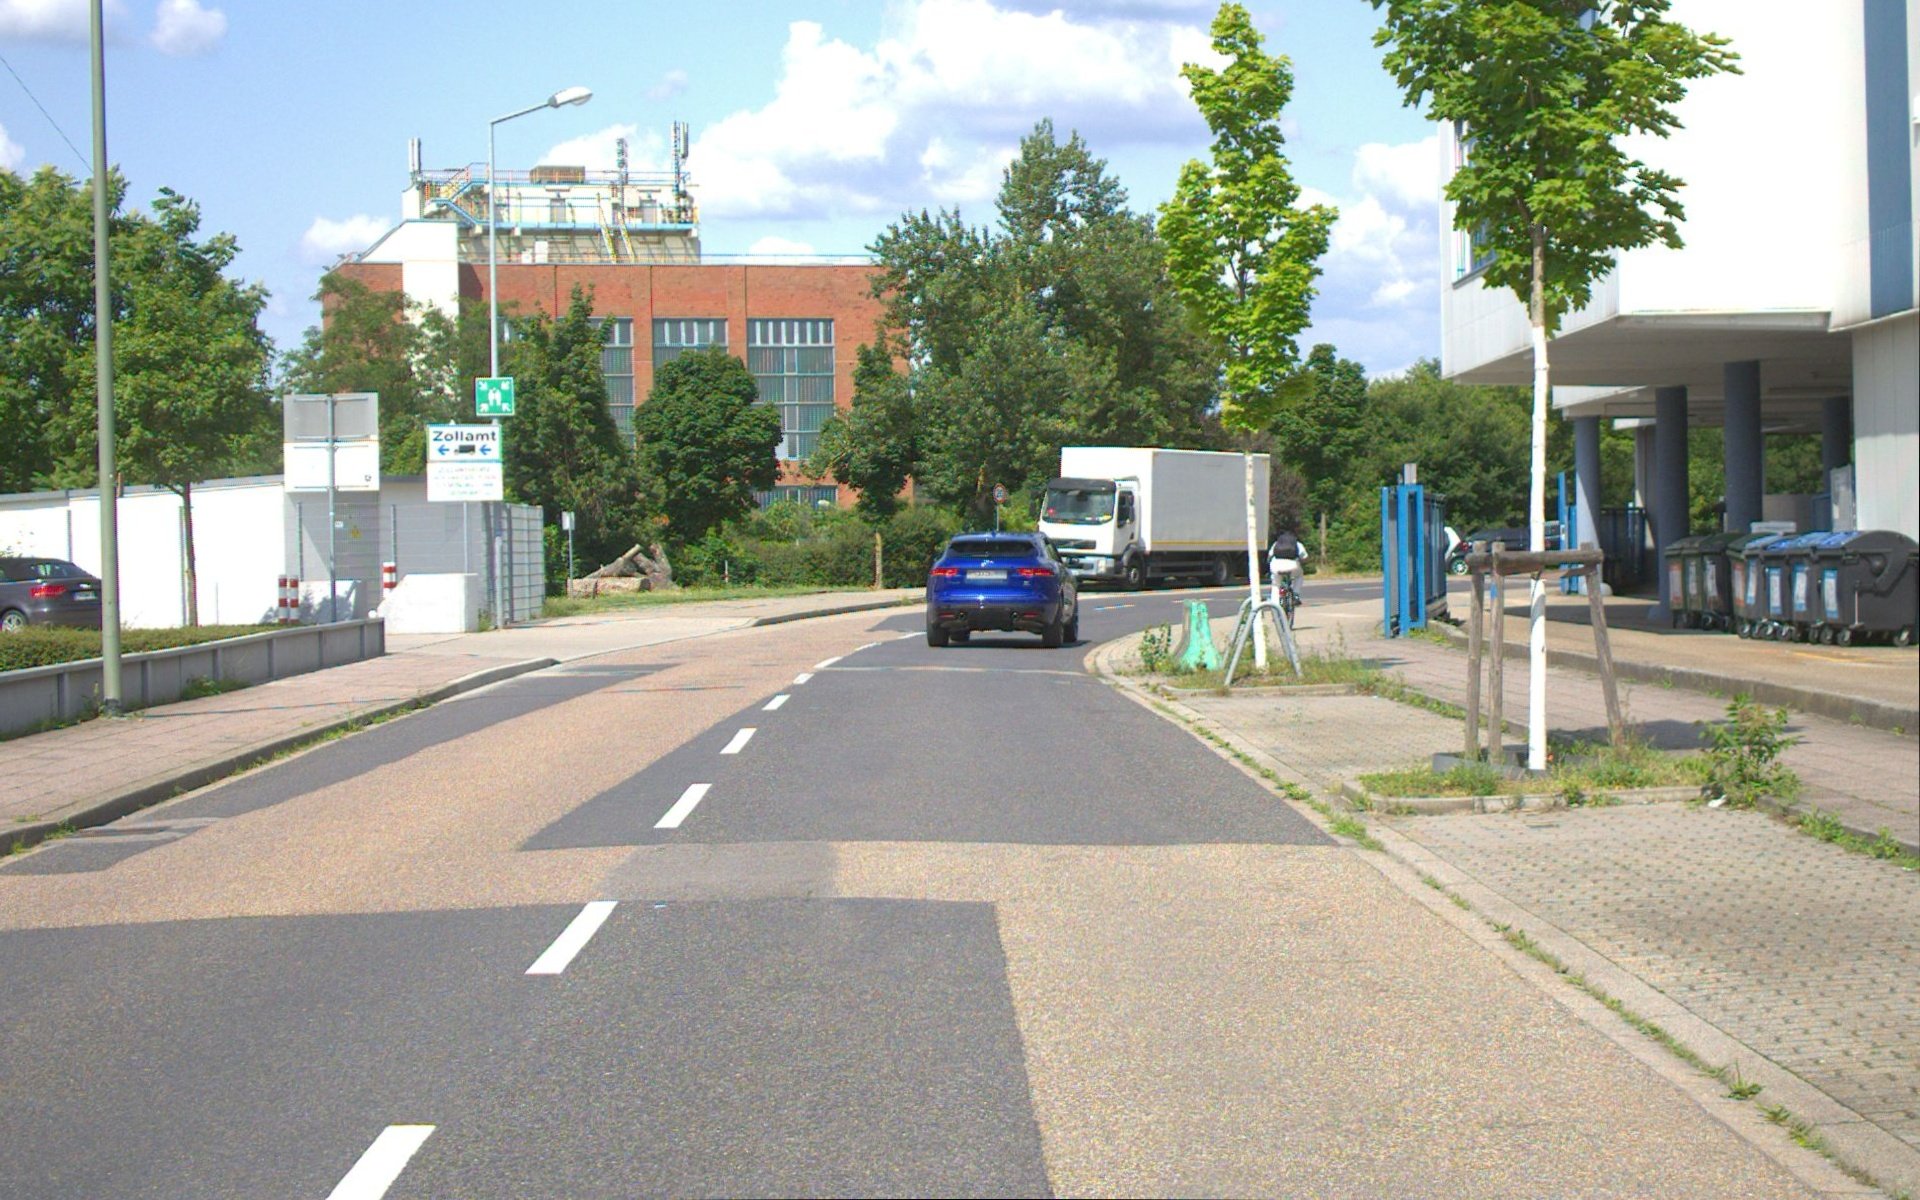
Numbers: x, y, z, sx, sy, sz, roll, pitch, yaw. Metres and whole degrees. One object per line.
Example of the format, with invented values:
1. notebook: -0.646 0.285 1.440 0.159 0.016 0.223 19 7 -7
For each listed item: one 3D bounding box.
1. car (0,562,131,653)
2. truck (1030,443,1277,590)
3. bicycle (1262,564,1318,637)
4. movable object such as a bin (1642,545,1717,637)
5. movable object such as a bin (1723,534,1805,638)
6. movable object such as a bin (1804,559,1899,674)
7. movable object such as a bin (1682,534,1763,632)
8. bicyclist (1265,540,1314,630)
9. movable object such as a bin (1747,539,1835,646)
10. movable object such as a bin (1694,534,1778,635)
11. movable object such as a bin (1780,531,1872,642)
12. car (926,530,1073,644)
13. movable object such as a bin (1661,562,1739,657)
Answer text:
1. car: -15.081 0.109 53.926 3.994 1.373 1.800 0 1 34
2. truck: 5.092 -2.157 88.168 2.325 3.555 9.352 2 2 30
3. bicycle: 5.134 -0.003 53.356 0.667 1.105 2.167 -1 1 11
4. movable object such as a bin: 11.134 -0.141 53.252 0.804 1.409 1.358 0 0 -3
5. movable object such as a bin: 11.066 -0.193 47.337 0.804 1.409 1.175 0 0 -3
6. movable object such as a bin: 11.153 0.204 43.050 0.804 1.409 1.358 0 0 -1
7. movable object such as a bin: 11.158 -0.245 50.361 0.804 1.409 1.406 0 0 -3
8. bicyclist: 5.121 -0.236 53.431 0.663 1.393 0.858 -1 0 11
9. movable object such as a bin: 11.116 -0.105 46.017 0.804 1.409 1.358 0 0 -1
10. movable object such as a bin: 11.000 -0.218 48.788 0.804 1.409 1.427 0 0 -3
11. movable object such as a bin: 11.204 -0.170 44.519 0.804 1.409 1.358 0 0 -1
12. car: 0.629 -0.191 50.418 1.910 1.588 4.701 0 0 4
13. movable object such as a bin: 11.136 0.139 51.773 0.804 1.409 1.358 0 0 -3
